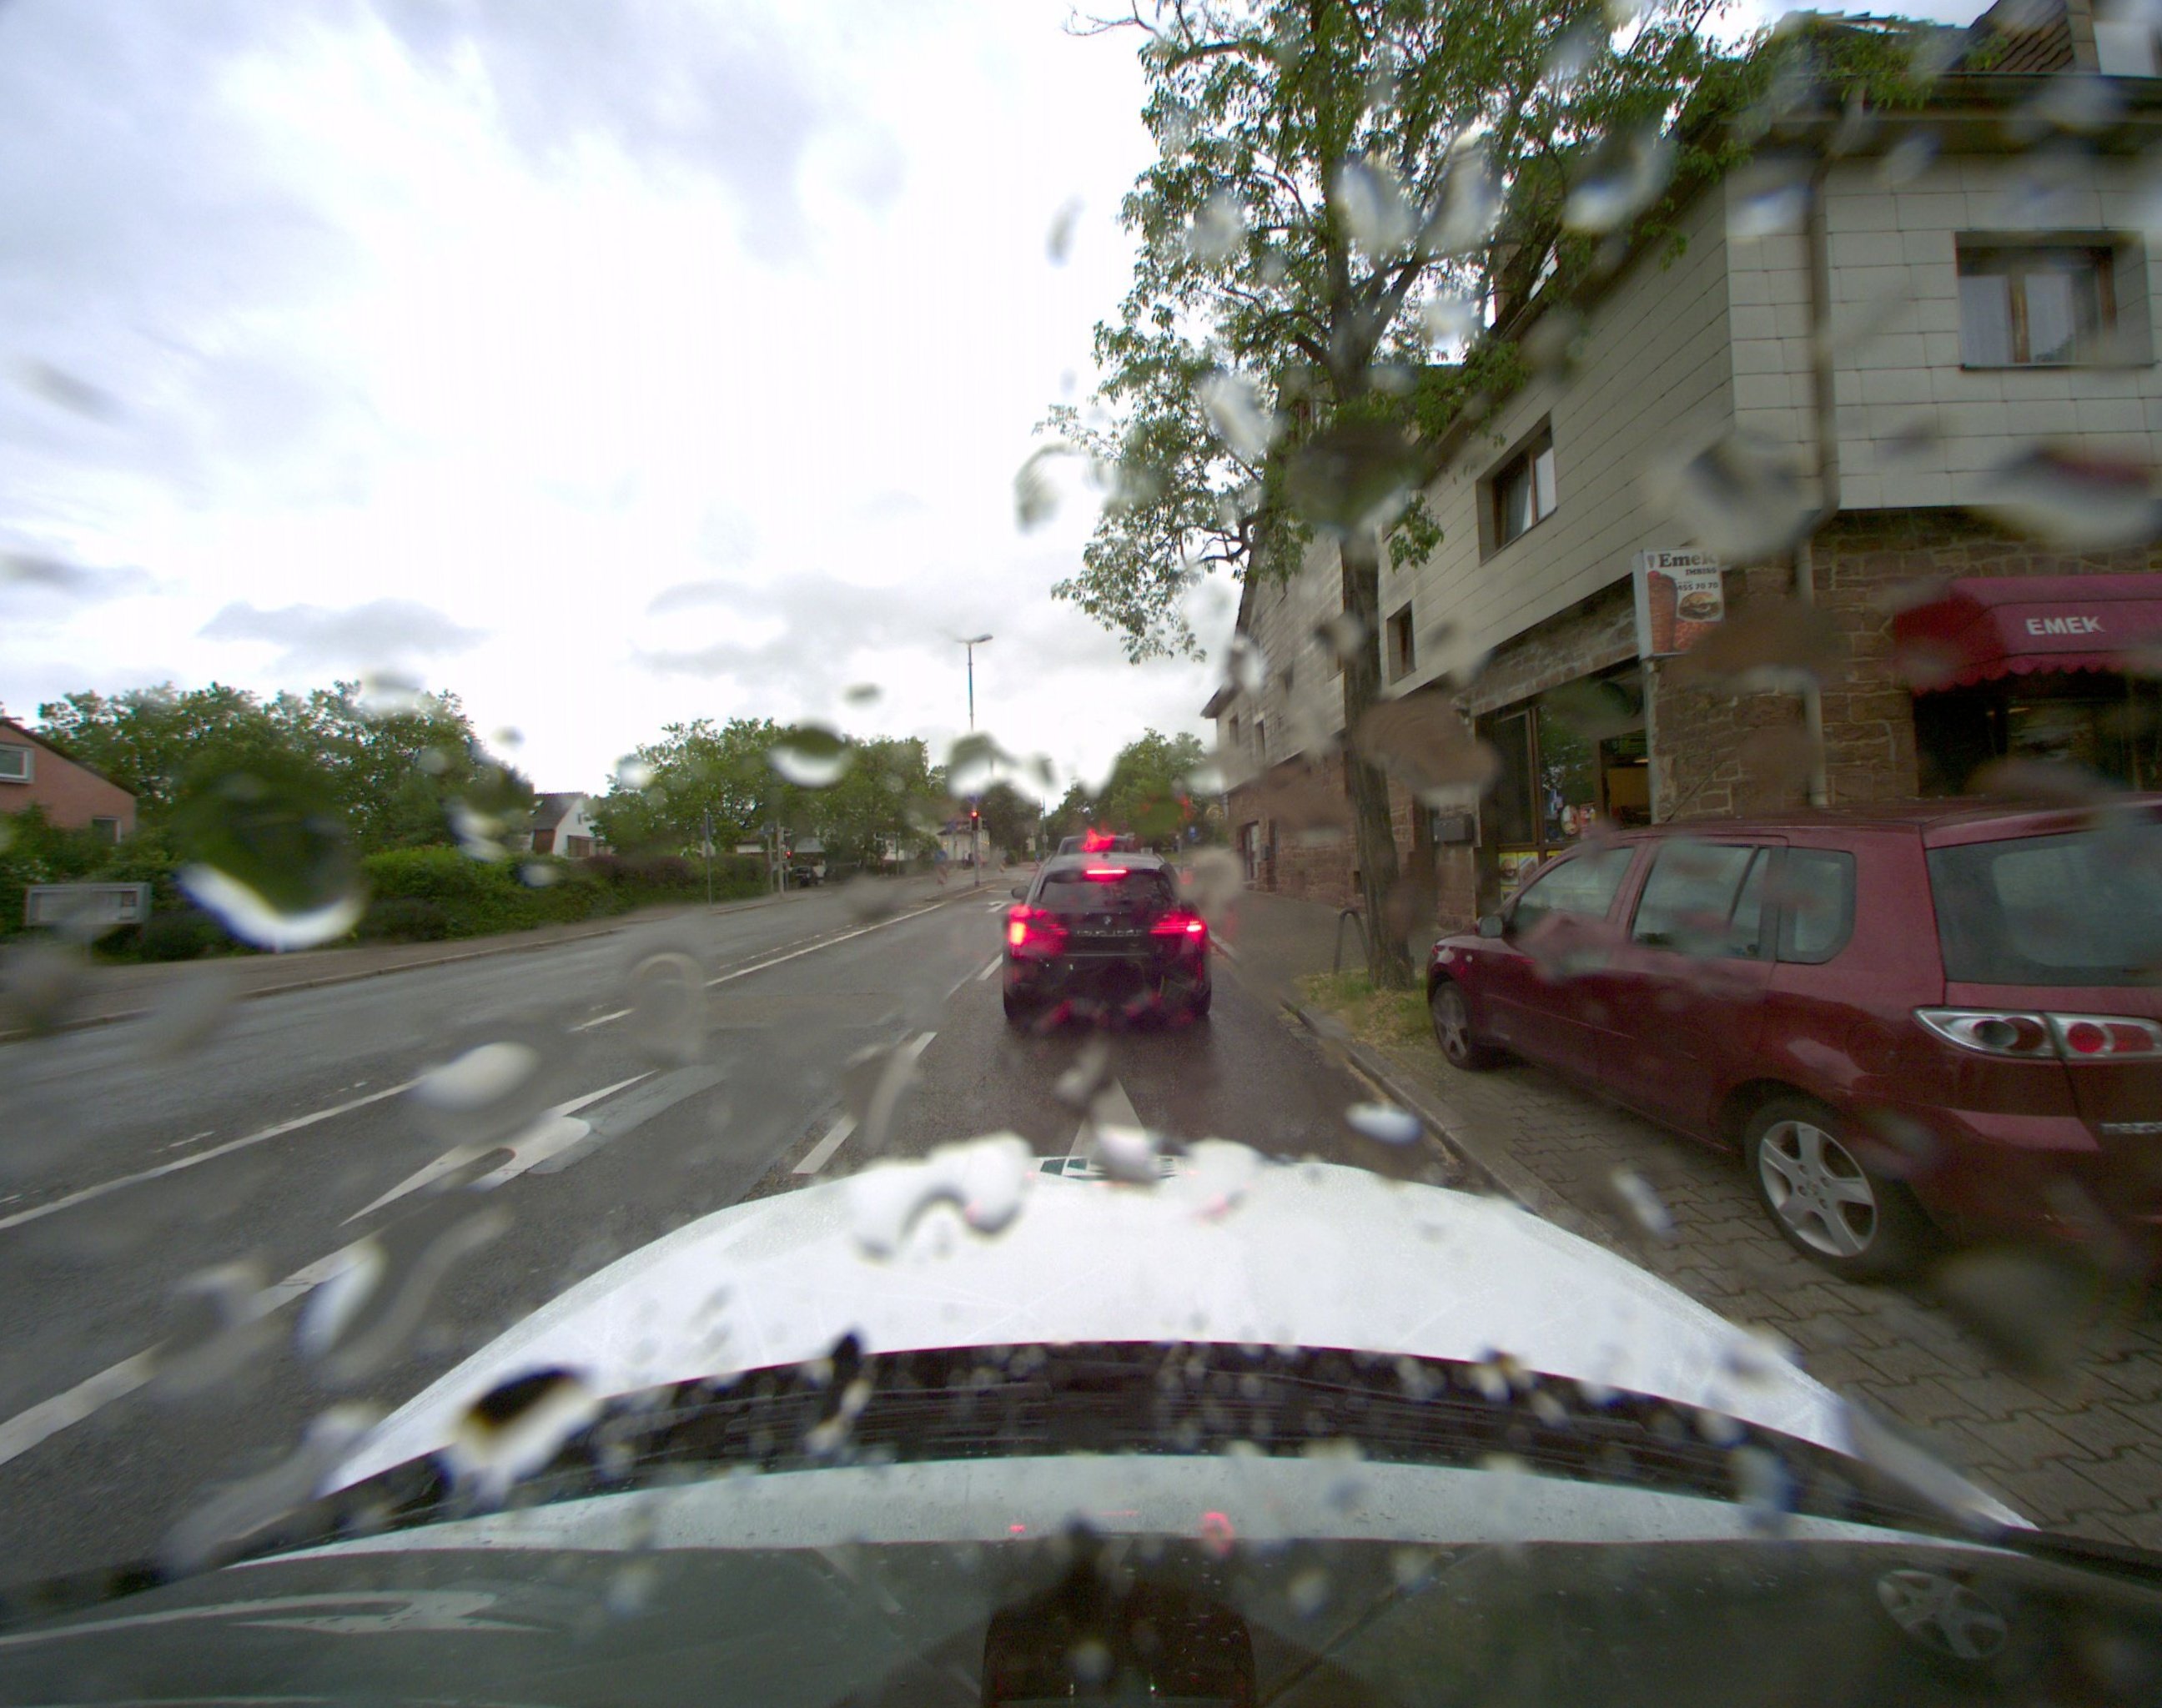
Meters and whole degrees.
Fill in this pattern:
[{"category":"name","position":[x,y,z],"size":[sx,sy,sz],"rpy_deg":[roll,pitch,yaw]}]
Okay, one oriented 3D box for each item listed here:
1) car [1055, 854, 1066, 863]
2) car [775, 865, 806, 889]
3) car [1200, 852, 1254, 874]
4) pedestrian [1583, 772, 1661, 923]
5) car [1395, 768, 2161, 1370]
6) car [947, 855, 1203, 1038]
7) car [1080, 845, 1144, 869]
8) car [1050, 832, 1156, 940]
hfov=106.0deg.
[{"category":"car","position":[-3.373,0.678,134.378],"size":[1.459,1.398,3.322],"rpy_deg":[-2,0,1]},{"category":"car","position":[-21.076,1.635,59.173],"size":[2.000,1.552,3.973],"rpy_deg":[-2,0,-20]},{"category":"car","position":[11.180,0.666,62.516],"size":[3.924,1.510,2.002],"rpy_deg":[-2,0,4]},{"category":"pedestrian","position":[6.822,-0.084,10.288],"size":[0.635,1.839,0.483],"rpy_deg":[-2,0,1]},{"category":"car","position":[3.090,0.494,3.927],"size":[1.579,1.490,3.625],"rpy_deg":[-5,1,-2]},{"category":"car","position":[-0.068,0.747,8.858],"size":[2.058,1.446,4.481],"rpy_deg":[-1,0,-1]},{"category":"car","position":[2.369,0.207,62.279],"size":[4.480,1.586,2.059],"rpy_deg":[-3,0,-17]},{"category":"car","position":[0.377,0.535,16.107],"size":[1.778,1.817,3.999],"rpy_deg":[-2,0,0]}]
